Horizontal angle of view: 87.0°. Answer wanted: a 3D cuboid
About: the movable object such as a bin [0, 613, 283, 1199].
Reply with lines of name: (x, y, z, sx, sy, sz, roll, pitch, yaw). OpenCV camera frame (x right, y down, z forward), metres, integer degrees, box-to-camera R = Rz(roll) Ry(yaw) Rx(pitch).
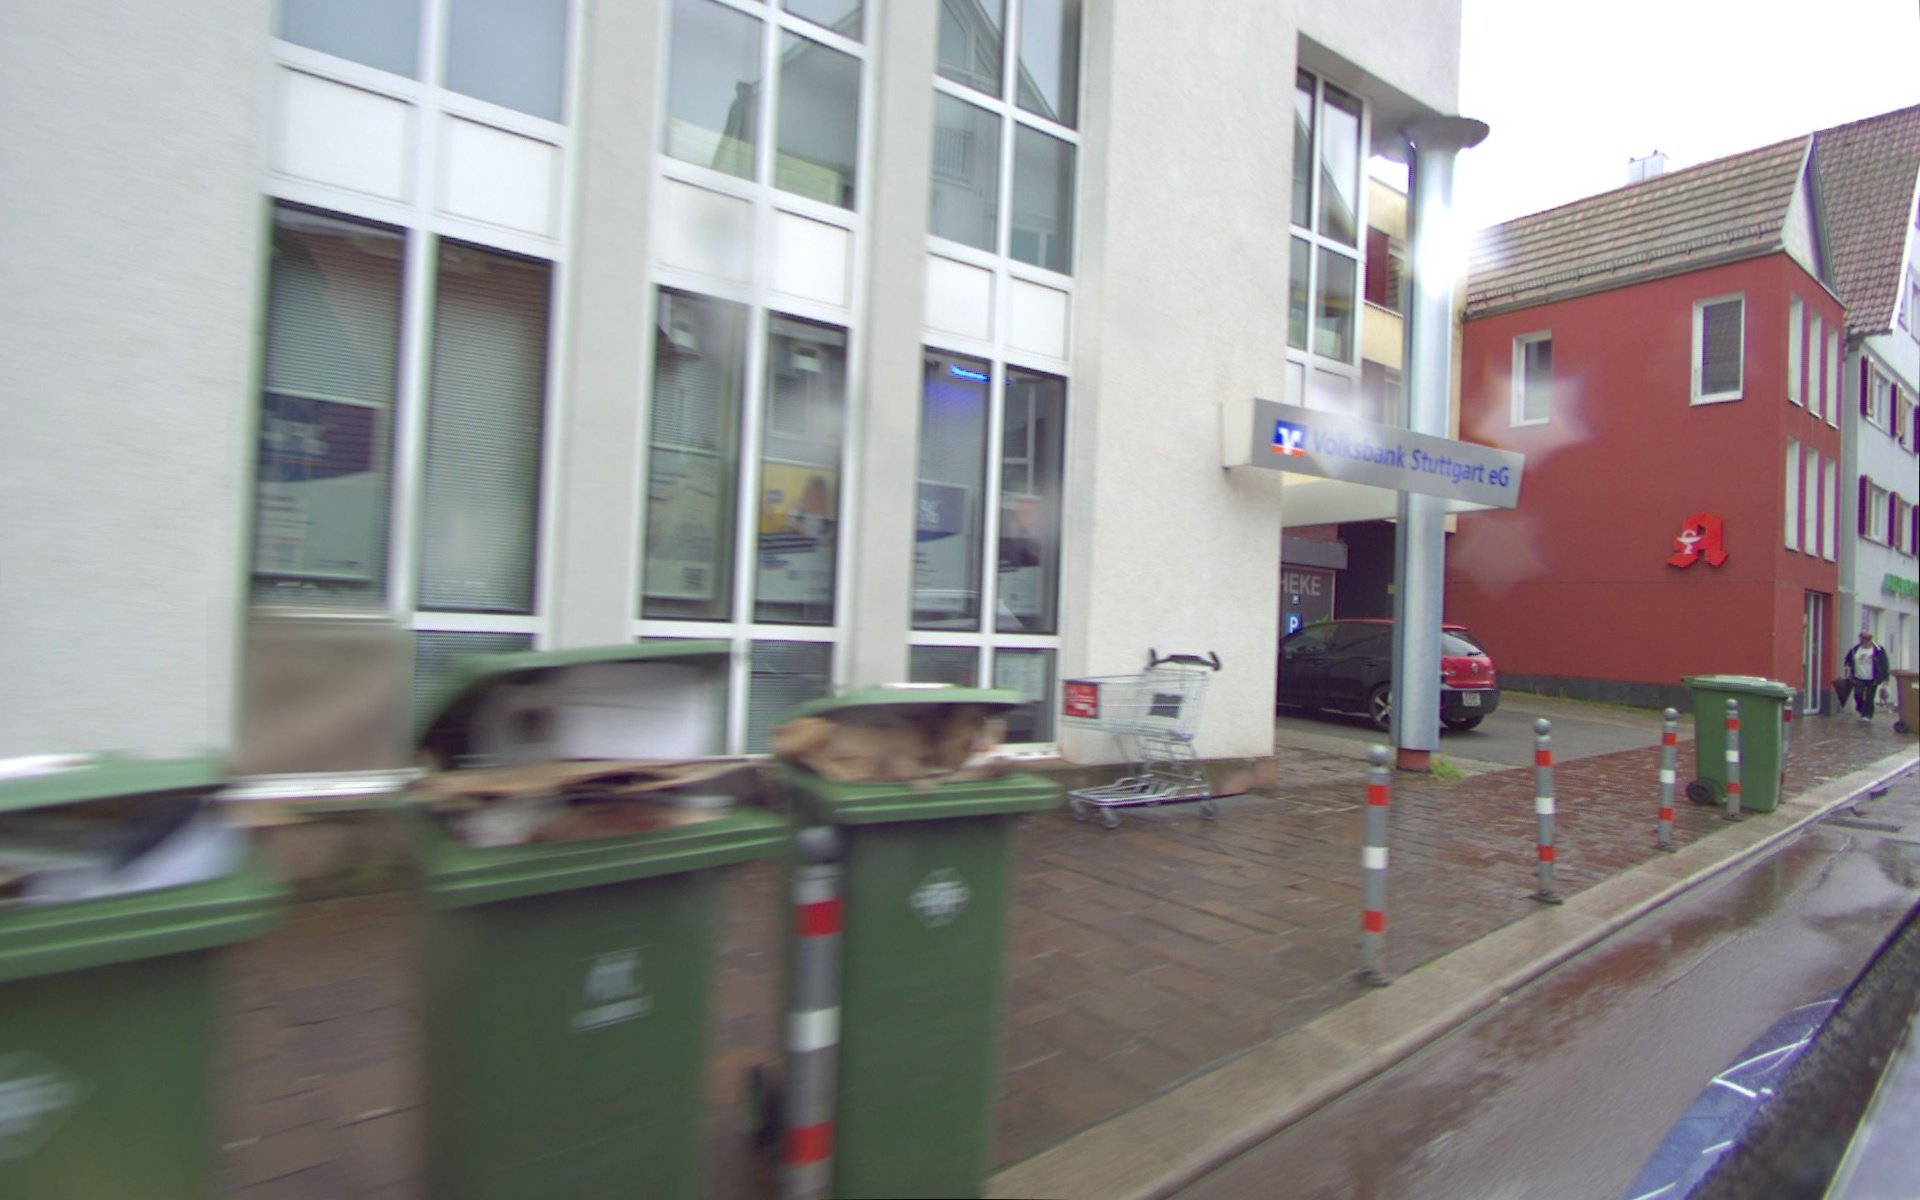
movable object such as a bin: (-1.345, 0.678, 1.424, 0.620, 1.306, 0.640, 1, 0, -36)

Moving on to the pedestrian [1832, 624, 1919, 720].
pedestrian: (17.726, 1.364, 19.554, 1.157, 1.719, 1.179, 3, 0, -43)

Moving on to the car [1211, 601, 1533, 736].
car: (5.803, 0.885, 14.758, 1.873, 1.533, 4.005, 3, 0, -30)

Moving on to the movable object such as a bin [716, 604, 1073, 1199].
movable object such as a bin: (-0.173, 0.668, 2.478, 0.620, 1.306, 0.640, 1, 0, -36)

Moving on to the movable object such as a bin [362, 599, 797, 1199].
movable object such as a bin: (-0.741, 0.655, 1.923, 0.620, 1.306, 0.640, 1, 0, -36)

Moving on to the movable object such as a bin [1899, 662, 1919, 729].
movable object such as a bin: (16.490, 1.633, 17.167, 0.635, 1.095, 0.730, 2, -1, -39)

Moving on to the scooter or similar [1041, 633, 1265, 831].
scooter or similar: (1.314, 0.823, 6.823, 1.418, 1.160, 0.667, 1, 0, -34)

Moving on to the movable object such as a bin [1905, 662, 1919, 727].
movable object such as a bin: (16.980, 1.652, 17.601, 0.603, 1.108, 0.712, 2, -1, -39)

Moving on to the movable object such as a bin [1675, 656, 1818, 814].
movable object such as a bin: (6.495, 1.067, 8.359, 0.848, 1.145, 0.805, 1, 0, -42)
